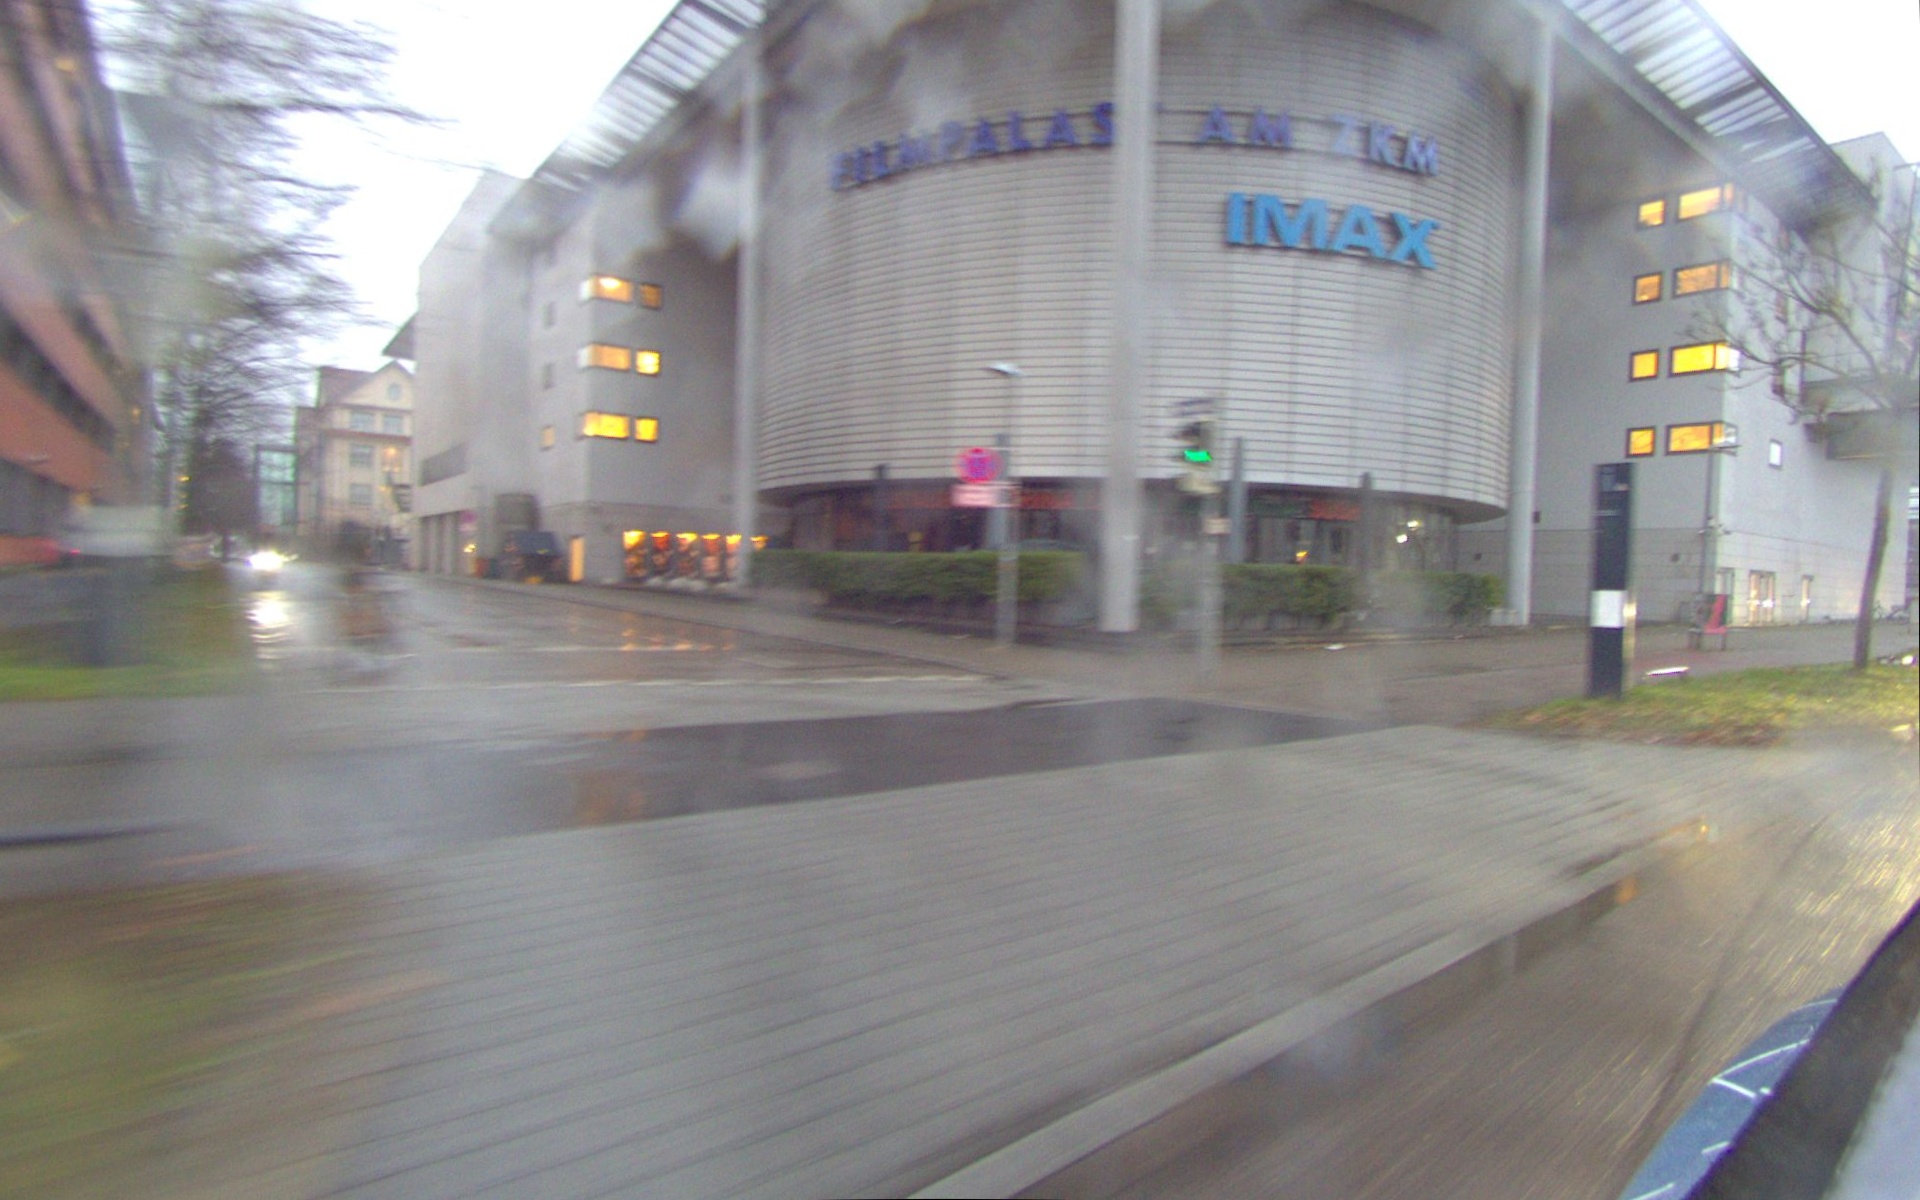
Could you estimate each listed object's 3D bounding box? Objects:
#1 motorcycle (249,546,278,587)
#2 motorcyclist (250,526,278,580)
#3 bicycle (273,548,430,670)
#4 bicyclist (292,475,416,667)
[{"bbox_3d":[-19.500,-0.920,28.330,0.613,1.112,1.443,-1,1,-37],"label":"motorcycle"},{"bbox_3d":[-19.436,-1.293,28.255,0.598,1.472,0.901,-1,1,-37],"label":"motorcyclist"},{"bbox_3d":[-6.225,0.076,10.478,0.836,1.105,1.872,3,0,-14],"label":"bicycle"},{"bbox_3d":[-6.170,-0.283,10.350,0.822,1.845,0.733,3,0,-15],"label":"bicyclist"}]
